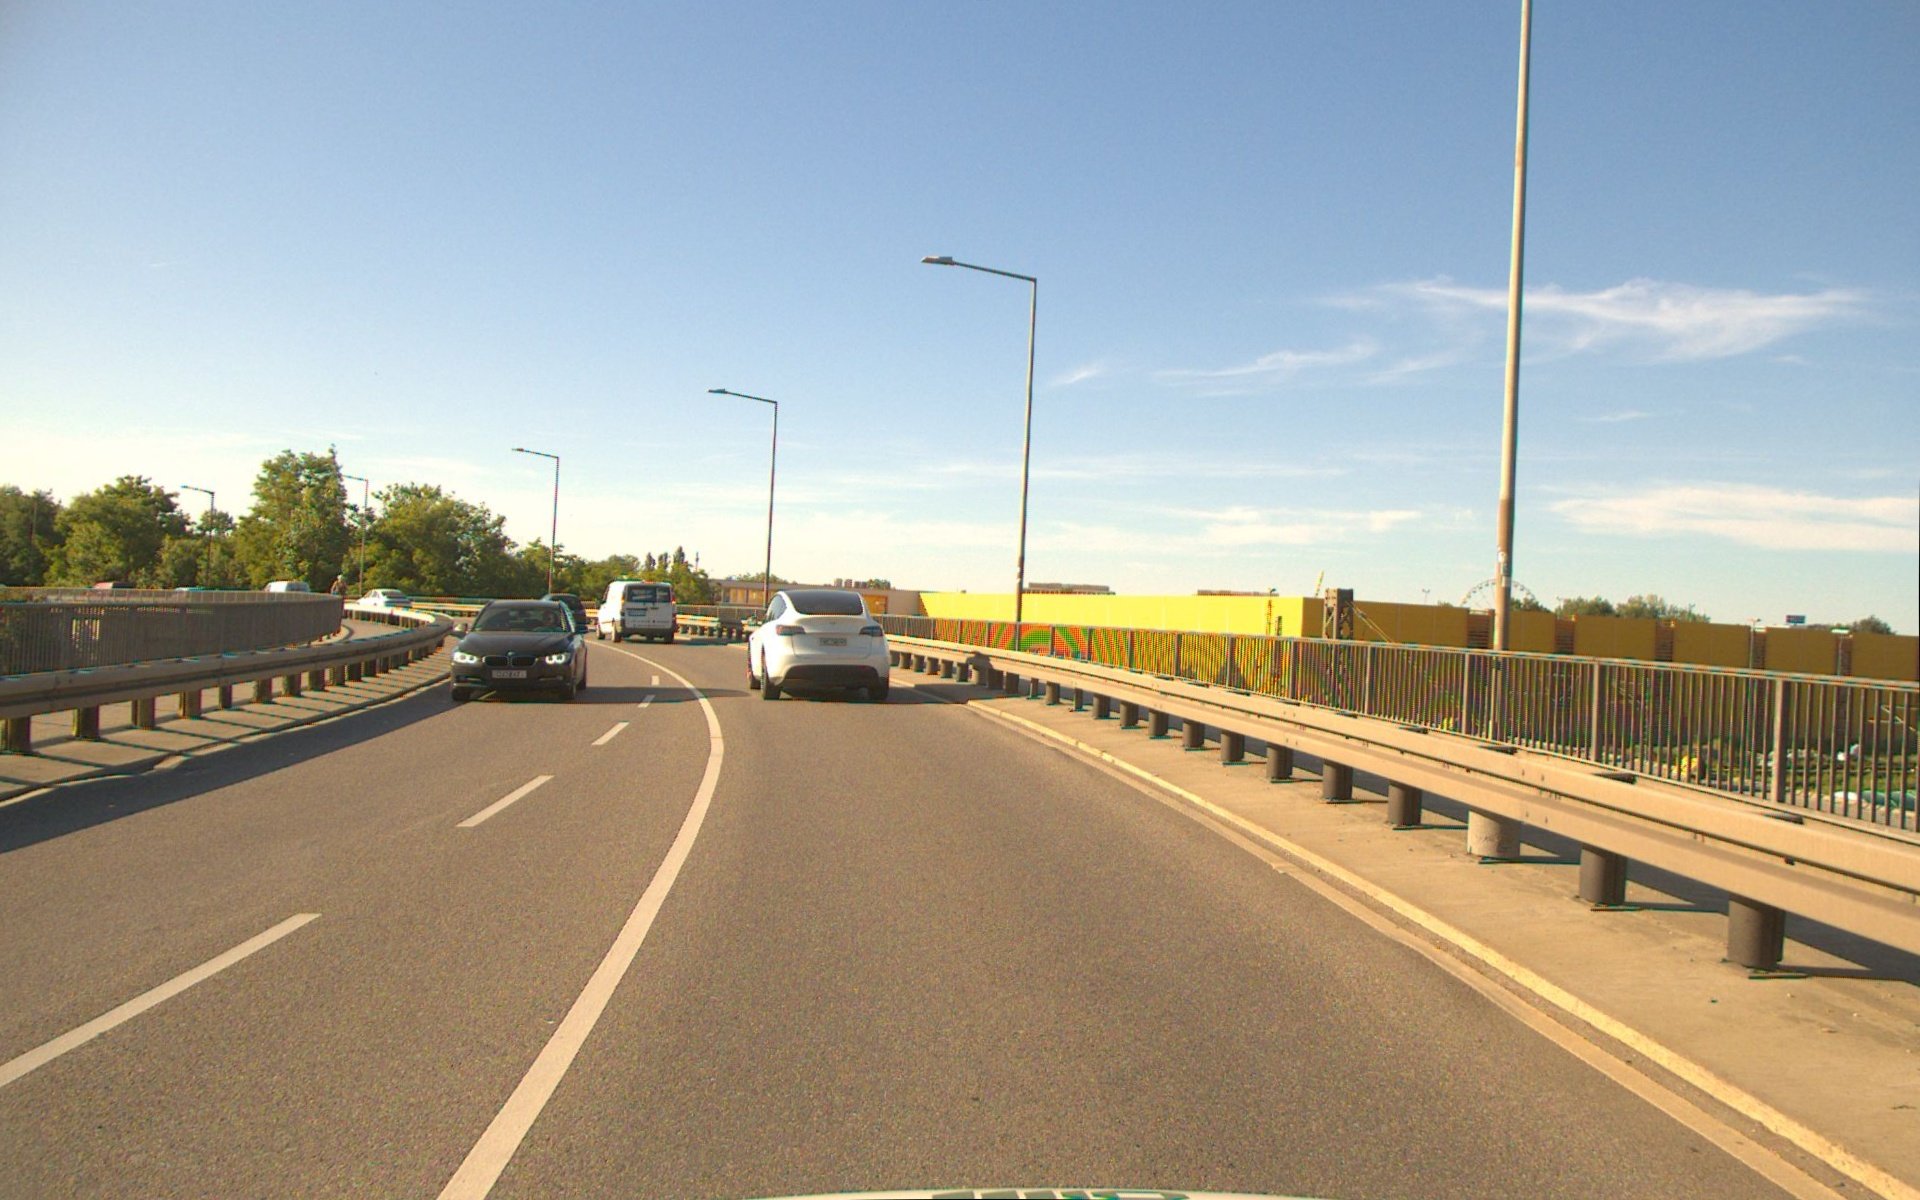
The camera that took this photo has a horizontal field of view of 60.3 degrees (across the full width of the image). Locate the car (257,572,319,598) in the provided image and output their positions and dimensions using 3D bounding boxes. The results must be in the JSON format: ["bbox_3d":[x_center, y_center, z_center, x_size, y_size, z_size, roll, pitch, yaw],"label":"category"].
[{"bbox_3d":[-41.891,-0.926,103.124,3.814,1.583,1.835,1,0,35],"label":"car"}]

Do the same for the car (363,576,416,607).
[{"bbox_3d":[-31.333,-0.466,90.847,1.843,1.613,3.868,1,0,-34],"label":"car"}]

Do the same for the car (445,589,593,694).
[{"bbox_3d":[-6.670,0.590,25.419,1.840,1.464,4.310,1,0,-10],"label":"car"}]

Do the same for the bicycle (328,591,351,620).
[{"bbox_3d":[-23.607,0.209,62.952,0.645,1.083,1.874,1,0,-26],"label":"bicycle"}]

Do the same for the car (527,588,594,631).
[{"bbox_3d":[-16.105,0.360,66.515,1.943,1.666,3.969,0,0,-24],"label":"car"}]

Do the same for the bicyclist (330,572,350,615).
[{"bbox_3d":[-23.559,-0.257,62.866,0.645,1.617,0.762,1,0,-26],"label":"bicyclist"}]

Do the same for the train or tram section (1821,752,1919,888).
[{"bbox_3d":[45.613,9.672,75.017,14.937,5.274,3.310,1,0,-25],"label":"train or tram section"}]

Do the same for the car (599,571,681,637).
[{"bbox_3d":[-10.219,0.117,52.637,1.975,1.974,4.443,1,0,-19],"label":"car"}]

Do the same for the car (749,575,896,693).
[{"bbox_3d":[-2.218,0.488,25.733,1.949,1.666,4.053,0,0,-9],"label":"car"}]
